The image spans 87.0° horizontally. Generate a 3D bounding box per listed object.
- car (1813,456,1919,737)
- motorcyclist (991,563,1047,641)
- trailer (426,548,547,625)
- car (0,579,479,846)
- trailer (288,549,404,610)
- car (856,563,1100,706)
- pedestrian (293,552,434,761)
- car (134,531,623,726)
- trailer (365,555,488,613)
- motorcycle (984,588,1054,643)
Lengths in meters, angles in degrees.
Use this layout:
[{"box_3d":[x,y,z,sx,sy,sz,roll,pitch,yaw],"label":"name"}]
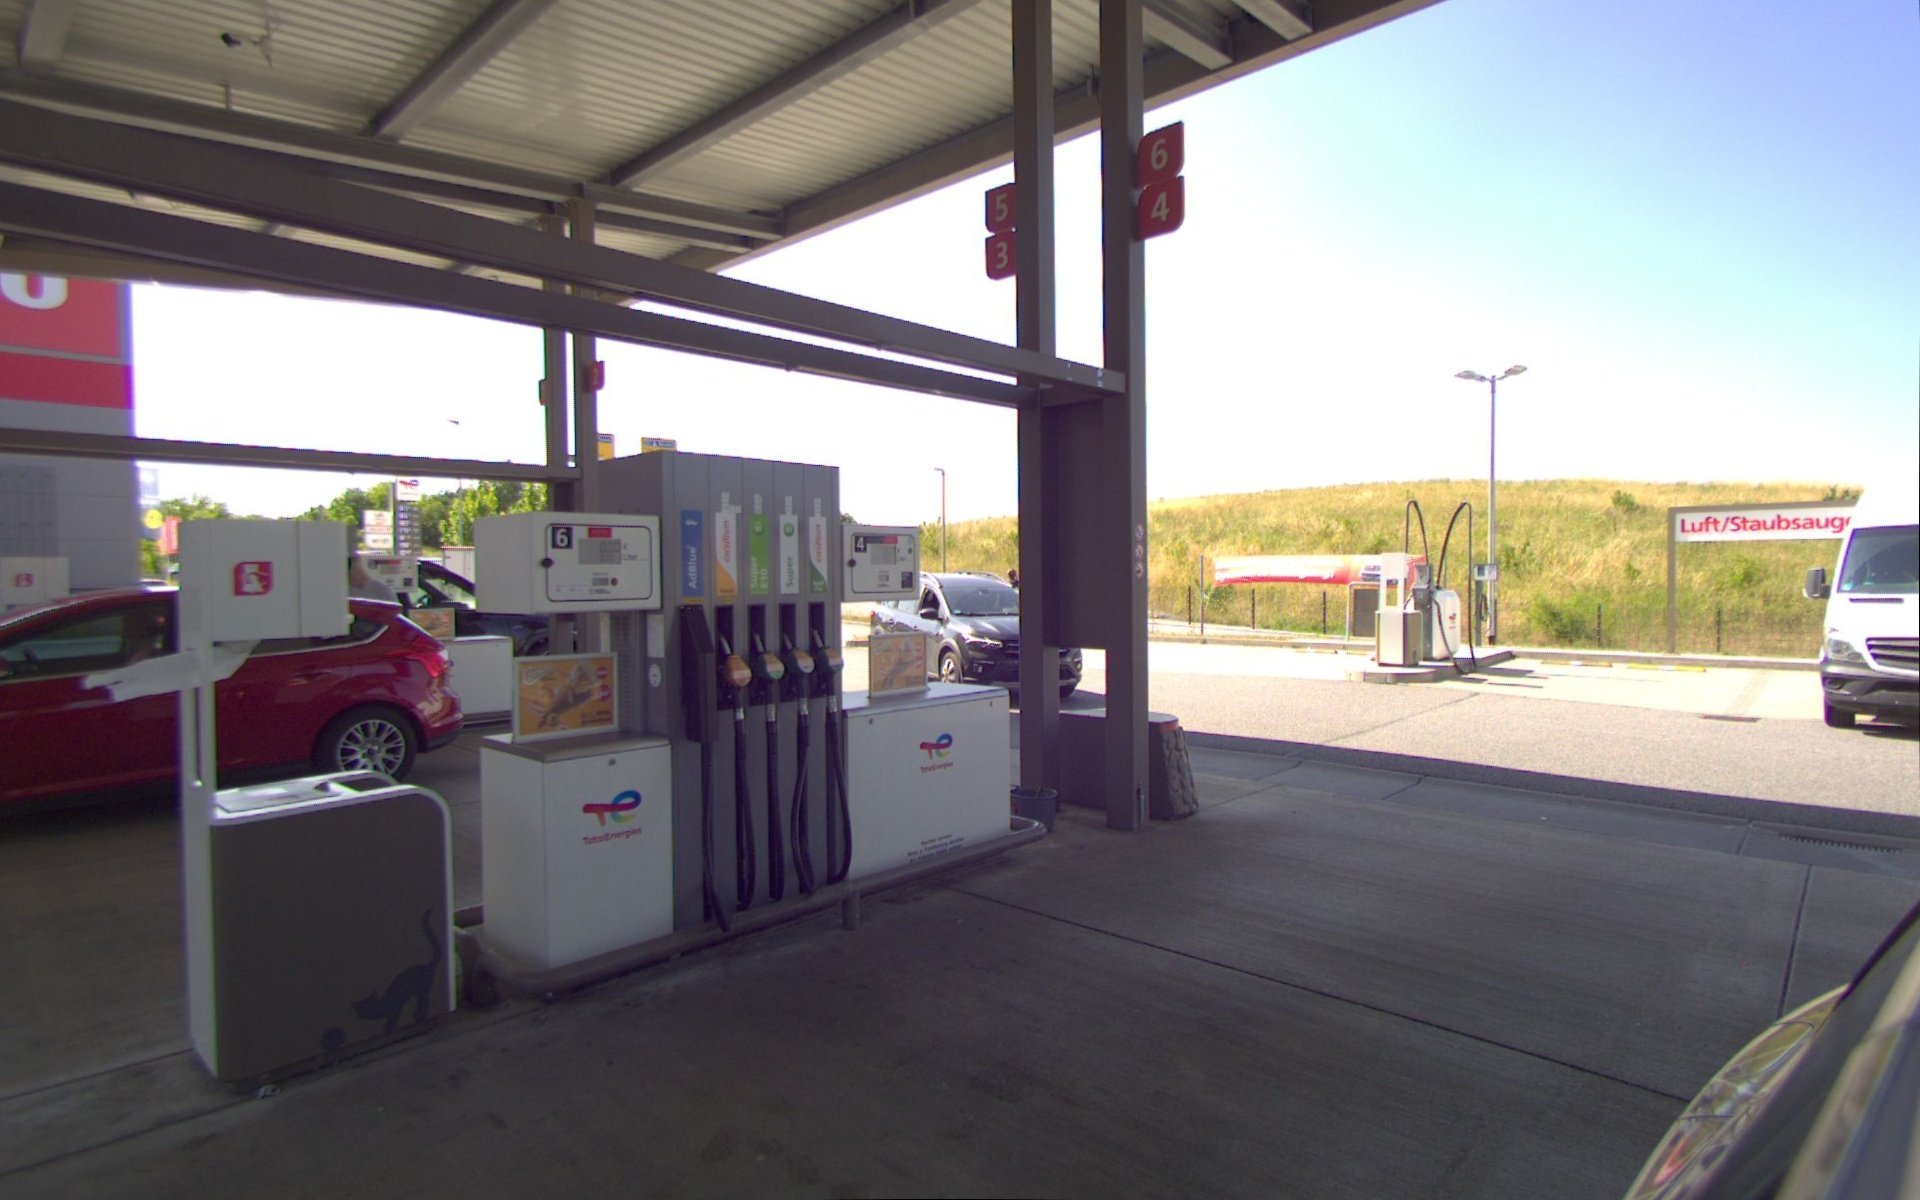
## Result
[{"box_3d":[11.623,-0.212,11.456,6.912,2.602,1.997,-4,4,-41],"label":"car"},{"box_3d":[1.353,0.027,23.034,1.021,1.709,1.093,0,1,18],"label":"motorcyclist"},{"box_3d":[-15.882,-0.481,34.206,1.965,2.457,3.995,0,1,5],"label":"trailer"},{"box_3d":[-5.637,0.612,6.649,1.698,1.487,4.168,1,1,42],"label":"car"},{"box_3d":[-25.971,-0.900,42.971,1.971,2.457,3.982,0,1,15],"label":"trailer"},{"box_3d":[0.036,0.350,14.260,1.707,1.665,4.641,0,1,-23],"label":"car"},{"box_3d":[-5.257,0.456,8.931,0.701,1.724,0.913,1,1,44],"label":"pedestrian"},{"box_3d":[-6.742,0.251,12.165,2.027,1.874,4.724,1,1,42],"label":"car"},{"box_3d":[-19.876,-0.615,37.888,1.779,2.039,3.977,0,1,18],"label":"trailer"},{"box_3d":[1.385,0.320,23.154,1.032,1.119,2.403,0,2,18],"label":"motorcycle"}]
